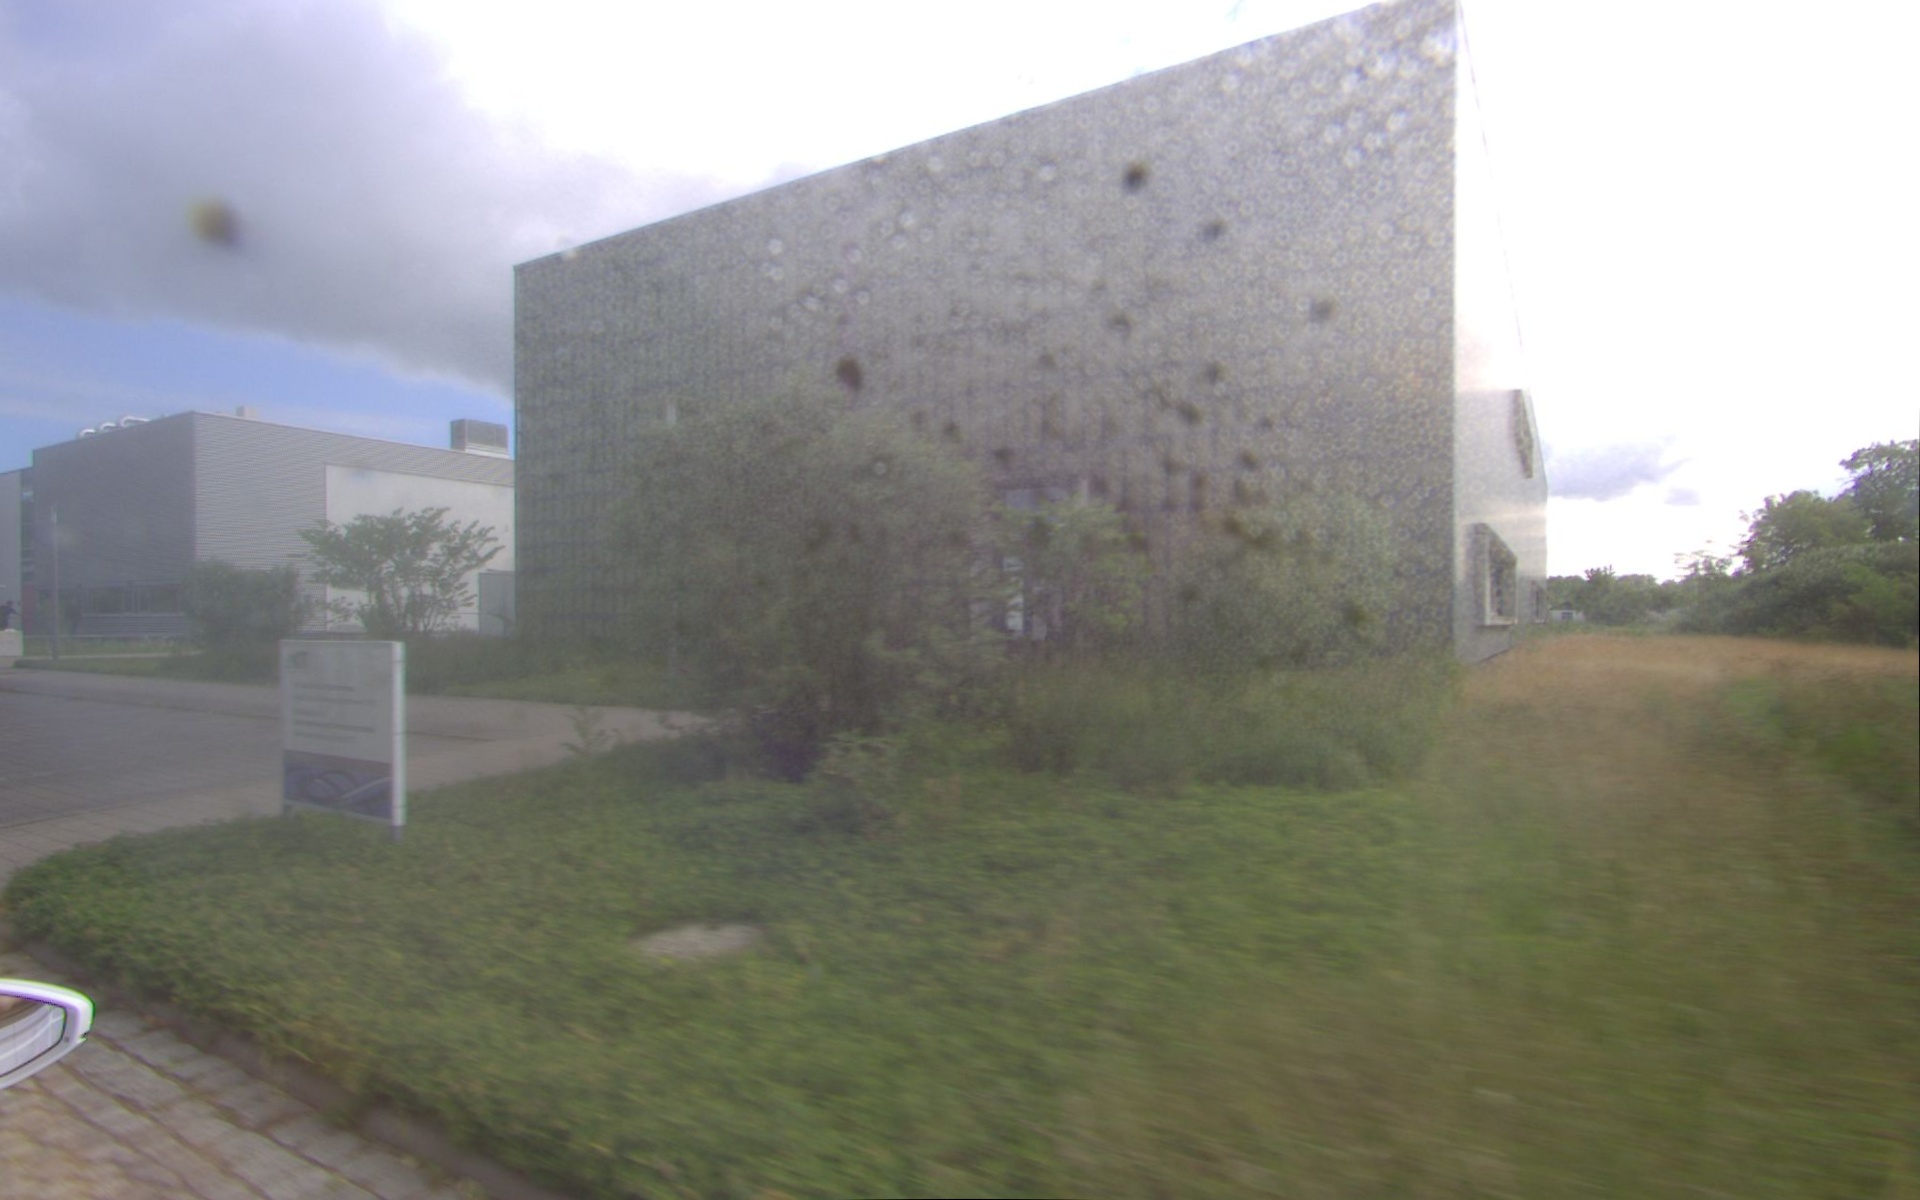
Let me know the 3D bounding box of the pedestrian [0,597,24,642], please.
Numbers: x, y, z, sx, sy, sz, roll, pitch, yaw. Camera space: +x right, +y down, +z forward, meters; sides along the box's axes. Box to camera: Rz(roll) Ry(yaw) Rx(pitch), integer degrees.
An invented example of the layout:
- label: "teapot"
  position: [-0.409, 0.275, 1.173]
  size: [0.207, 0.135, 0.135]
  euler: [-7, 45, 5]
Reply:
- label: "pedestrian"
  position: [-44.098, 0.898, 46.256]
  size: [1.128, 2.040, 0.920]
  euler: [0, 0, 26]

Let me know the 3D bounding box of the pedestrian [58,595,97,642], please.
- label: "pedestrian"
  position: [-37.313, 0.794, 42.340]
  size: [0.838, 1.962, 0.920]
  euler: [0, 0, 2]
